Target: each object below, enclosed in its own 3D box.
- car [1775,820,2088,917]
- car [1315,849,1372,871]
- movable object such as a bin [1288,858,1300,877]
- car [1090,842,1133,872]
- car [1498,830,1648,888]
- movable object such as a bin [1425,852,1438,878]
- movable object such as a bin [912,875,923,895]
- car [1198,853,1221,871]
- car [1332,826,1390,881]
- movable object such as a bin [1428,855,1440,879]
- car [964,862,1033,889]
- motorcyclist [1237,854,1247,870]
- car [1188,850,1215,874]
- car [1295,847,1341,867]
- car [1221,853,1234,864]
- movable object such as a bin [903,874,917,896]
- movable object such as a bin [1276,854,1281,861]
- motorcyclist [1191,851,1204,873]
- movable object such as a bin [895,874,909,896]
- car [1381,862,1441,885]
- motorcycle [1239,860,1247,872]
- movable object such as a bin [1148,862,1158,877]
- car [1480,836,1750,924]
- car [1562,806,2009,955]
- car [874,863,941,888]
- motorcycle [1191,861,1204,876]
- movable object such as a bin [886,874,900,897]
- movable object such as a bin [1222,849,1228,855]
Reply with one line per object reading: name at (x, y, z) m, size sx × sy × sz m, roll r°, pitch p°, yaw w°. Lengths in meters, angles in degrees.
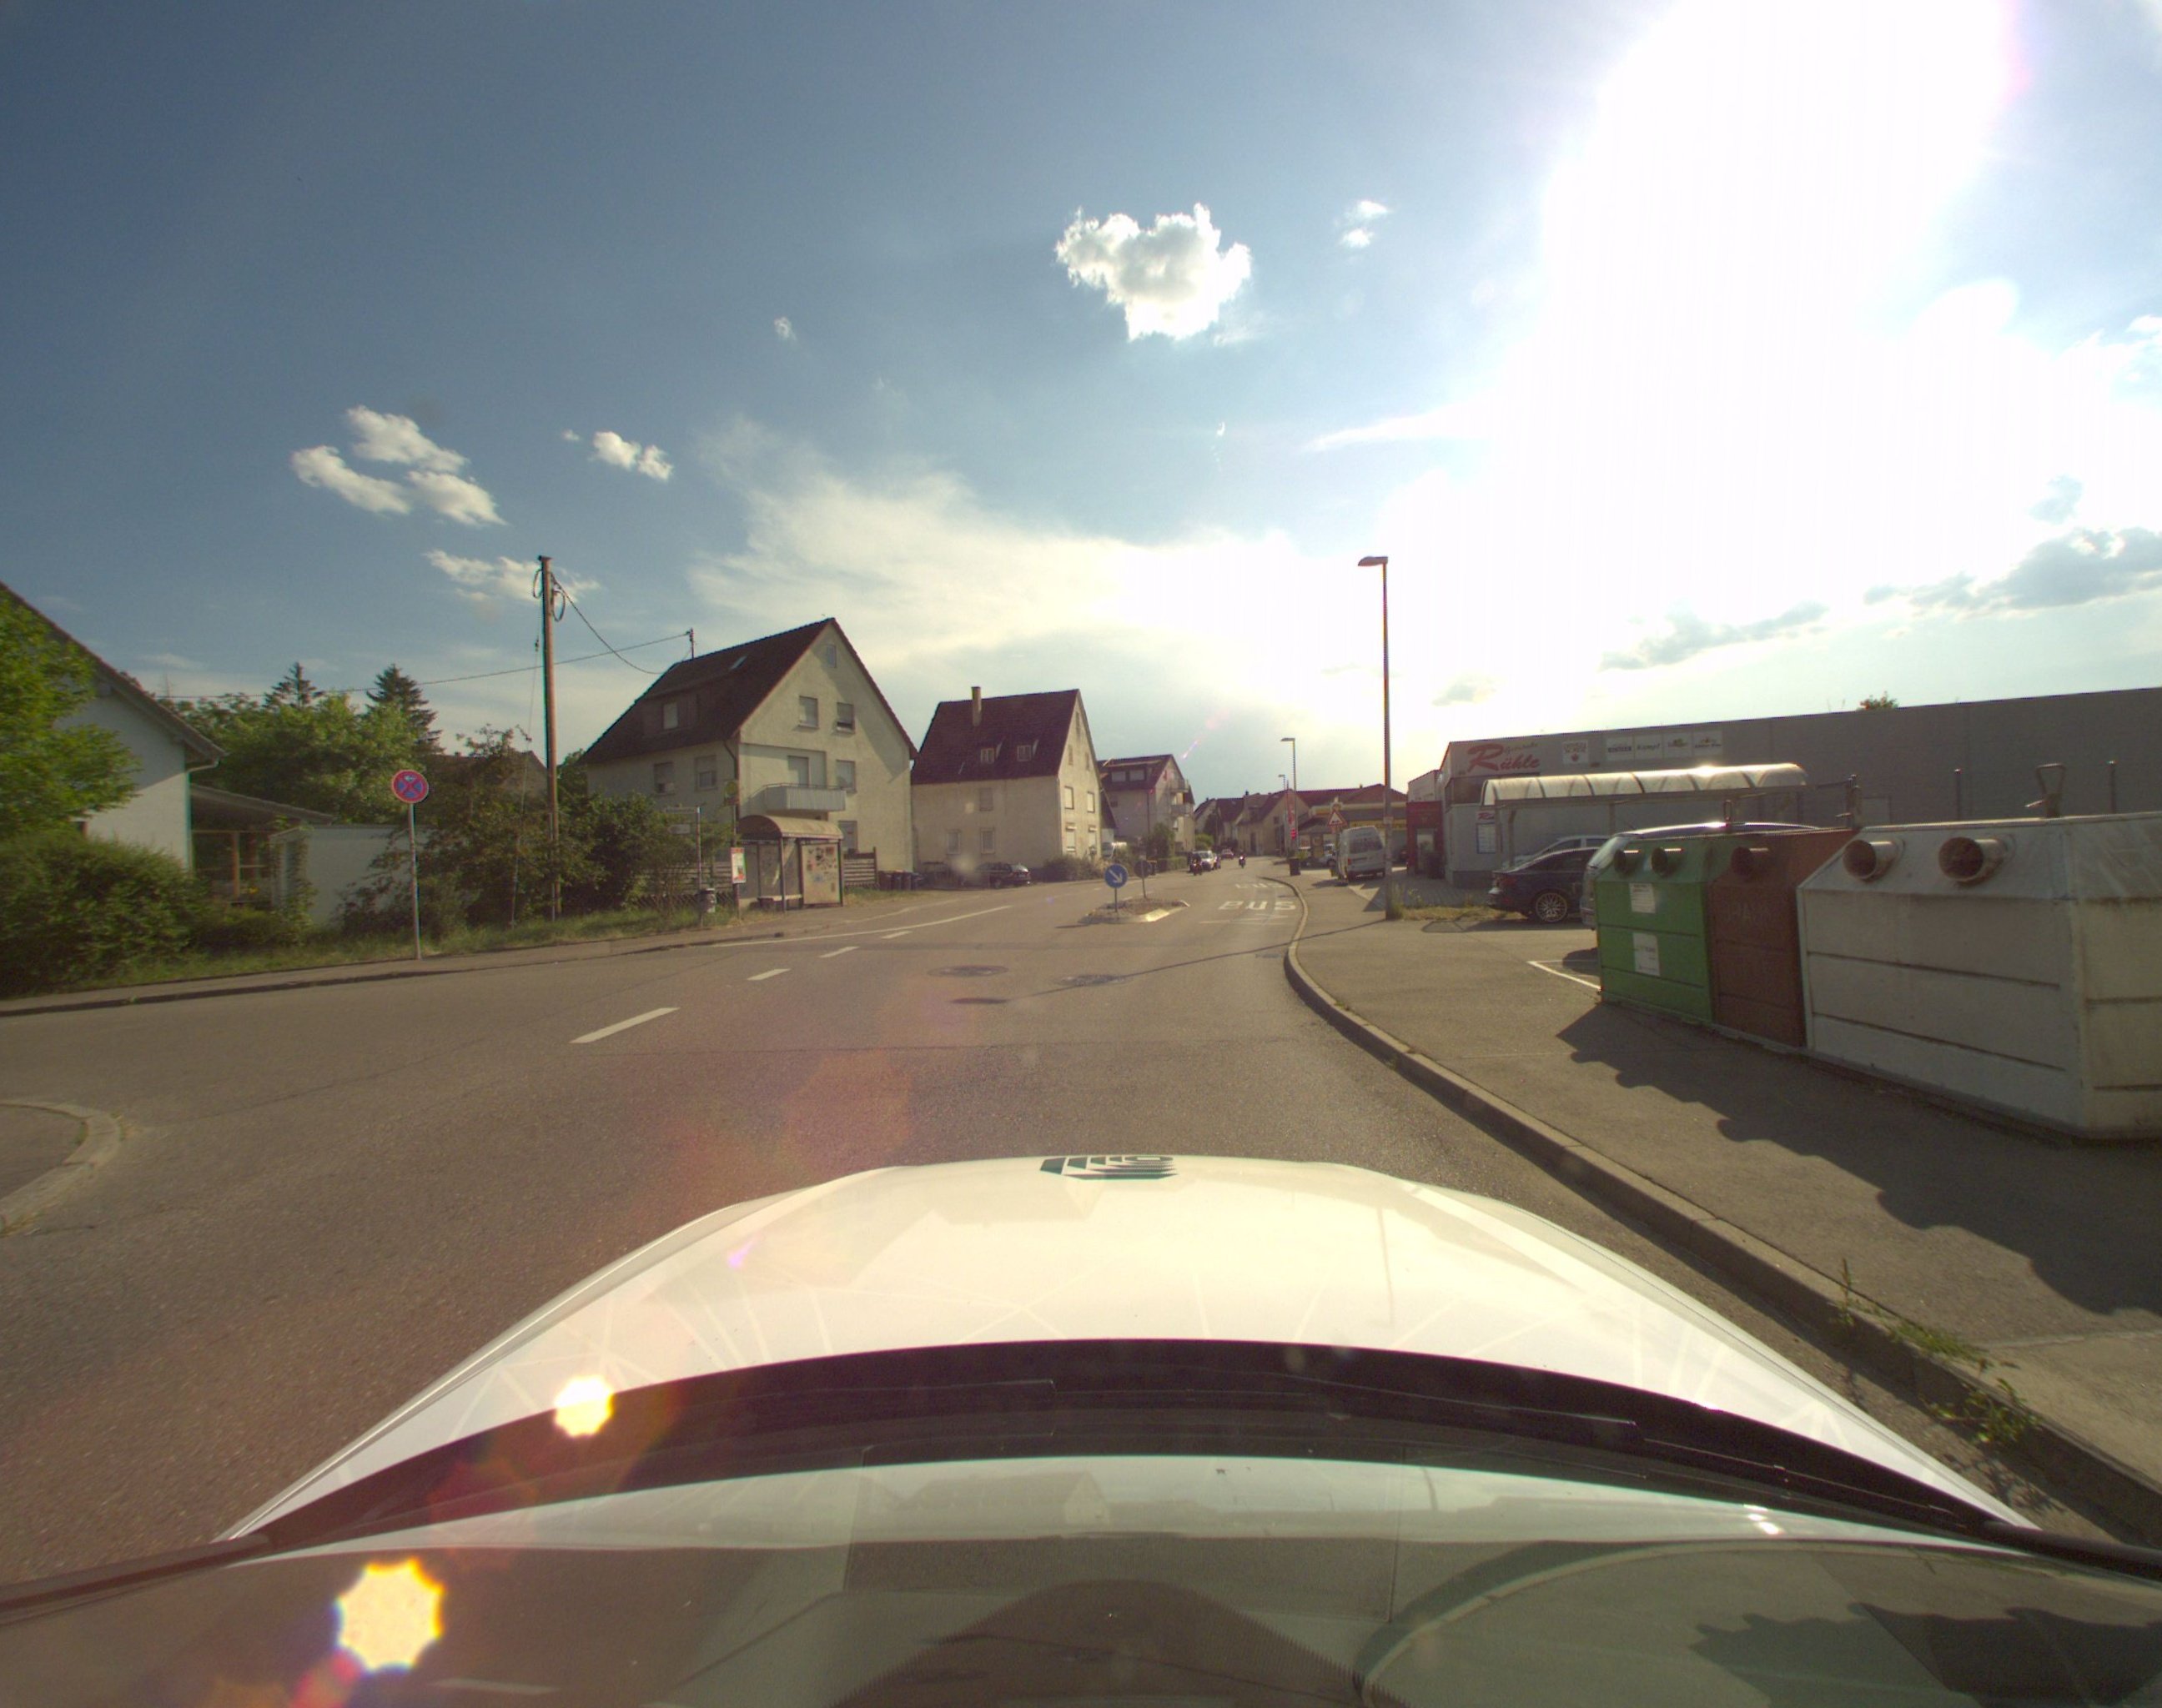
car at (14.638, 0.273, 14.248) m, size 3.409 × 1.417 × 1.505 m, roll -4°, pitch -1°, yaw 19°
car at (19.837, 0.459, 61.621) m, size 3.959 × 1.531 × 1.533 m, roll -2°, pitch 0°, yaw 13°
movable object such as a bin at (12.442, 0.765, 47.647) m, size 0.563 × 1.075 × 0.574 m, roll -3°, pitch -1°, yaw 10°
car at (2.847, 0.231, 73.863) m, size 2.141 × 2.596 × 6.124 m, roll -1°, pitch 0°, yaw 19°
car at (14.311, 0.151, 23.915) m, size 3.524 × 1.457 × 1.507 m, roll -4°, pitch 0°, yaw 23°
movable object such as a bin at (14.231, 0.448, 33.041) m, size 0.425 × 1.042 × 0.492 m, roll -2°, pitch 0°, yaw 22°
movable object such as a bin at (-7.857, 1.485, 39.146) m, size 0.357 × 0.925 × 0.402 m, roll -2°, pitch -2°, yaw 31°
car at (11.960, 0.725, 75.642) m, size 1.660 × 1.451 × 3.850 m, roll -3°, pitch 0°, yaw 15°
car at (13.375, -0.032, 39.129) m, size 1.824 × 2.375 × 5.194 m, roll -3°, pitch 0°, yaw 11°
movable object such as a bin at (14.011, 0.514, 32.323) m, size 0.425 × 0.966 × 0.433 m, roll -2°, pitch 0°, yaw 22°
car at (-4.738, 1.183, 46.506) m, size 3.949 × 1.433 × 1.663 m, roll -1°, pitch 1°, yaw 42°
motorcyclist at (14.695, 0.732, 74.317) m, size 0.796 × 1.436 × 1.041 m, roll -1°, pitch 0°, yaw 16°
car at (10.392, 0.637, 70.158) m, size 1.703 × 1.872 × 4.209 m, roll -3°, pitch 0°, yaw 15°
car at (21.457, 0.256, 73.834) m, size 3.958 × 1.608 × 2.008 m, roll -2°, pitch 0°, yaw 14°
car at (21.440, 0.646, 119.263) m, size 1.699 × 1.435 × 3.788 m, roll -4°, pitch -1°, yaw 7°
movable object such as a bin at (-8.129, 1.454, 38.697) m, size 0.357 × 1.023 × 0.580 m, roll -2°, pitch -2°, yaw 31°
movable object such as a bin at (28.520, 0.509, 117.587) m, size 0.648 × 1.073 × 0.514 m, roll -2°, pitch 0°, yaw 11°
motorcyclist at (8.423, 0.576, 58.743) m, size 0.730 × 1.527 × 1.021 m, roll 1°, pitch -1°, yaw 19°
movable object such as a bin at (-8.398, 1.451, 38.156) m, size 0.357 × 1.041 × 0.561 m, roll -2°, pitch -2°, yaw 31°
car at (24.511, 1.435, 60.561) m, size 3.880 × 1.467 × 1.722 m, roll -2°, pitch 1°, yaw 10°
motorcycle at (14.755, 1.079, 74.358) m, size 0.520 × 1.012 × 2.036 m, roll 0°, pitch 0°, yaw 17°
movable object such as a bin at (5.320, 1.121, 60.181) m, size 0.606 × 1.101 × 0.578 m, roll -1°, pitch -1°, yaw 15°
car at (10.099, 0.512, 15.769) m, size 4.031 × 1.417 × 1.633 m, roll -4°, pitch -1°, yaw 19°
car at (8.606, 0.365, 10.365) m, size 3.910 × 1.603 × 1.689 m, roll -3°, pitch -2°, yaw 14°
car at (-10.384, 1.251, 48.550) m, size 3.948 × 1.361 × 1.697 m, roll 0°, pitch 1°, yaw 37°
motorcycle at (8.448, 1.028, 58.834) m, size 0.534 × 1.012 × 2.037 m, roll 0°, pitch 0°, yaw 19°
movable object such as a bin at (-8.691, 1.448, 37.663) m, size 0.357 × 1.016 × 0.561 m, roll -2°, pitch -2°, yaw 31°
movable object such as a bin at (29.735, -0.322, 167.960) m, size 1.156 × 1.168 × 0.655 m, roll -2°, pitch 0°, yaw 2°
